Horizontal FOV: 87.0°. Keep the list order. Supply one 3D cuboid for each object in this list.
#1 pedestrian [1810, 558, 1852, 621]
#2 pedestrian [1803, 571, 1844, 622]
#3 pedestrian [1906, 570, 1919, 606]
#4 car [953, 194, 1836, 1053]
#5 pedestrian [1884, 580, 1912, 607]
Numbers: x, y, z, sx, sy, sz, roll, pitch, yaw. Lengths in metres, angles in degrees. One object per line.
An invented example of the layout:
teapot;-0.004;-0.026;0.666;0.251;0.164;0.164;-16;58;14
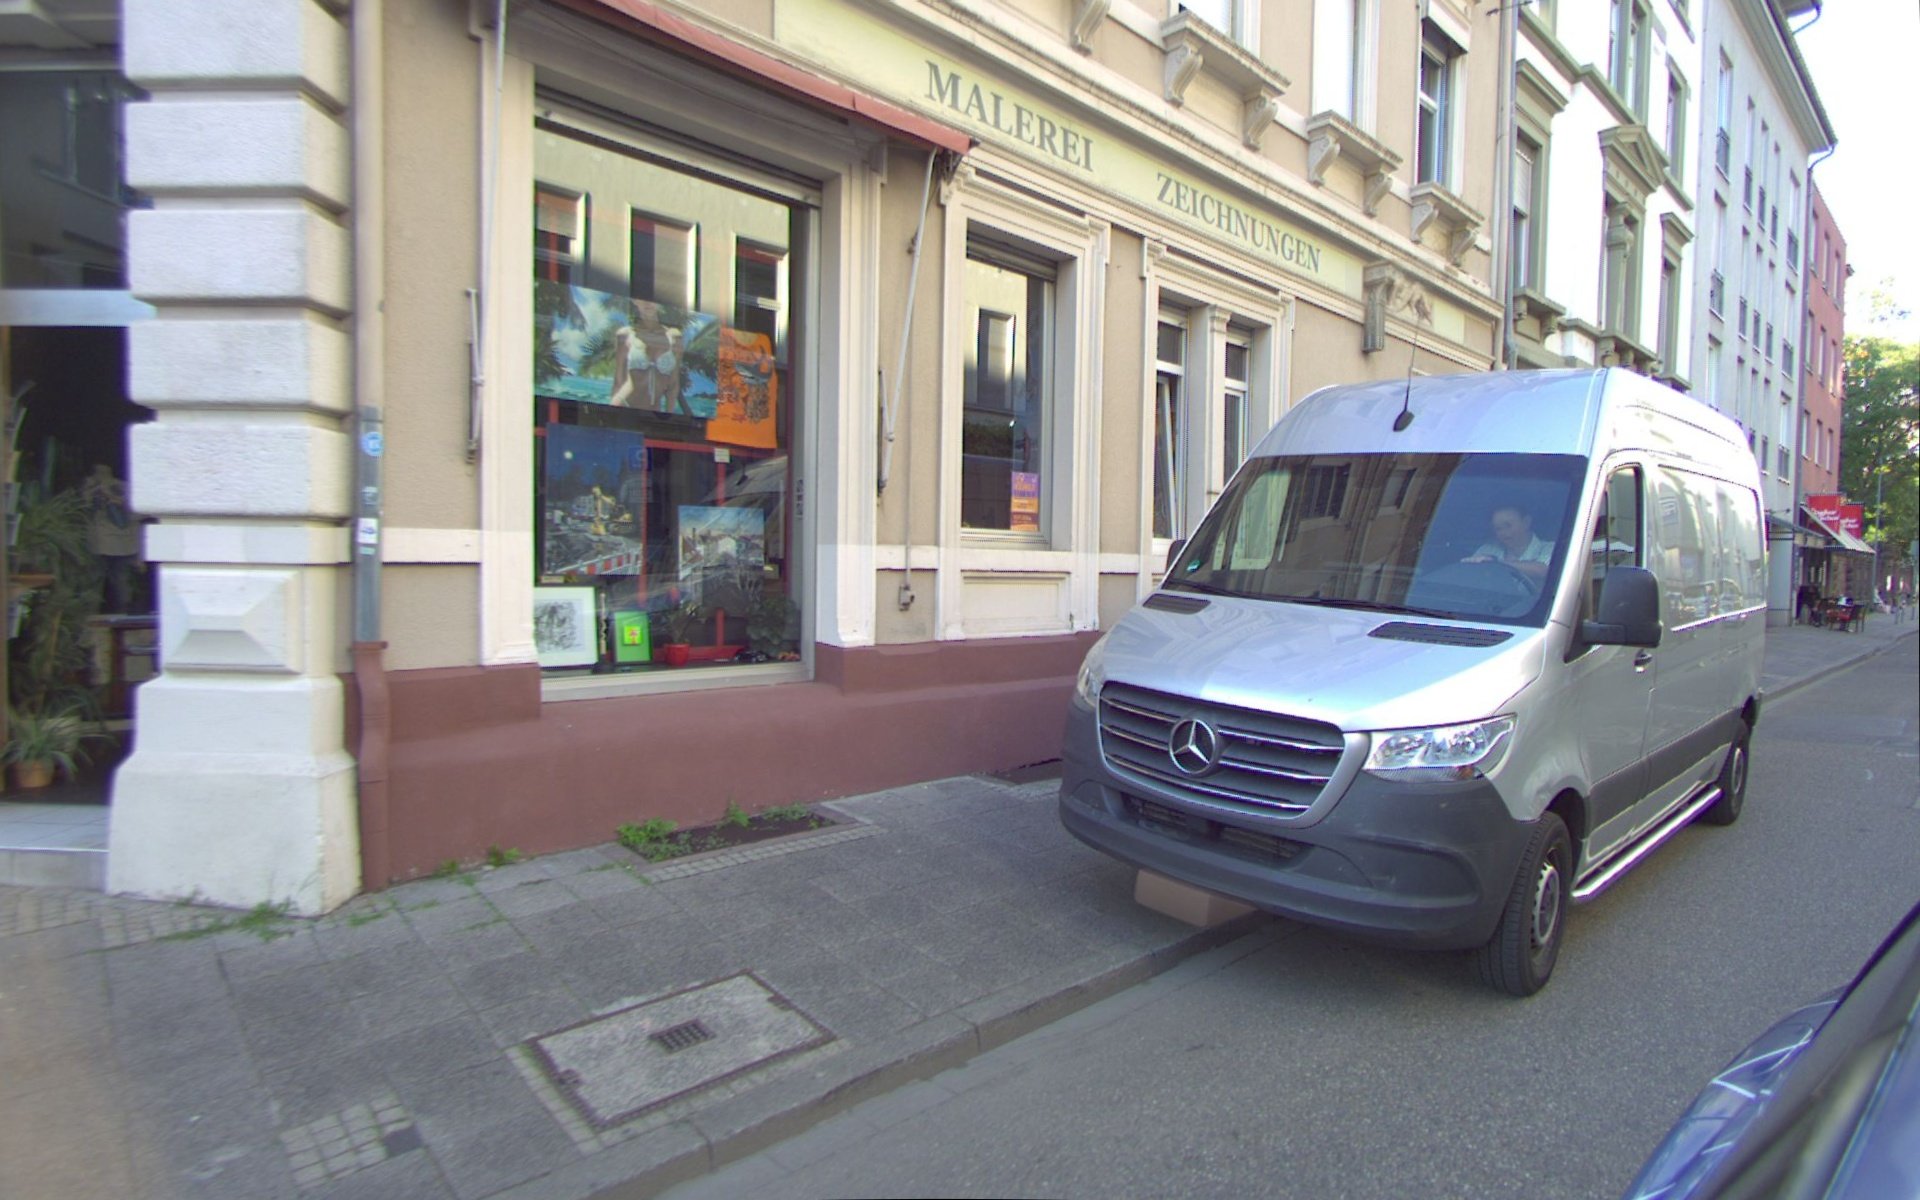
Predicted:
pedestrian;25.832;-0.321;30.031;0.655;1.814;0.723;5;4;30
pedestrian;25.952;-0.119;30.418;0.650;1.504;0.826;0;3;-44
pedestrian;45.789;-0.576;48.508;0.547;1.666;0.438;0;3;-36
car;2.998;-0.005;5.808;6.097;2.469;2.281;-1;3;-42
pedestrian;45.235;-0.318;48.807;0.357;1.264;0.926;-1;4;-45
